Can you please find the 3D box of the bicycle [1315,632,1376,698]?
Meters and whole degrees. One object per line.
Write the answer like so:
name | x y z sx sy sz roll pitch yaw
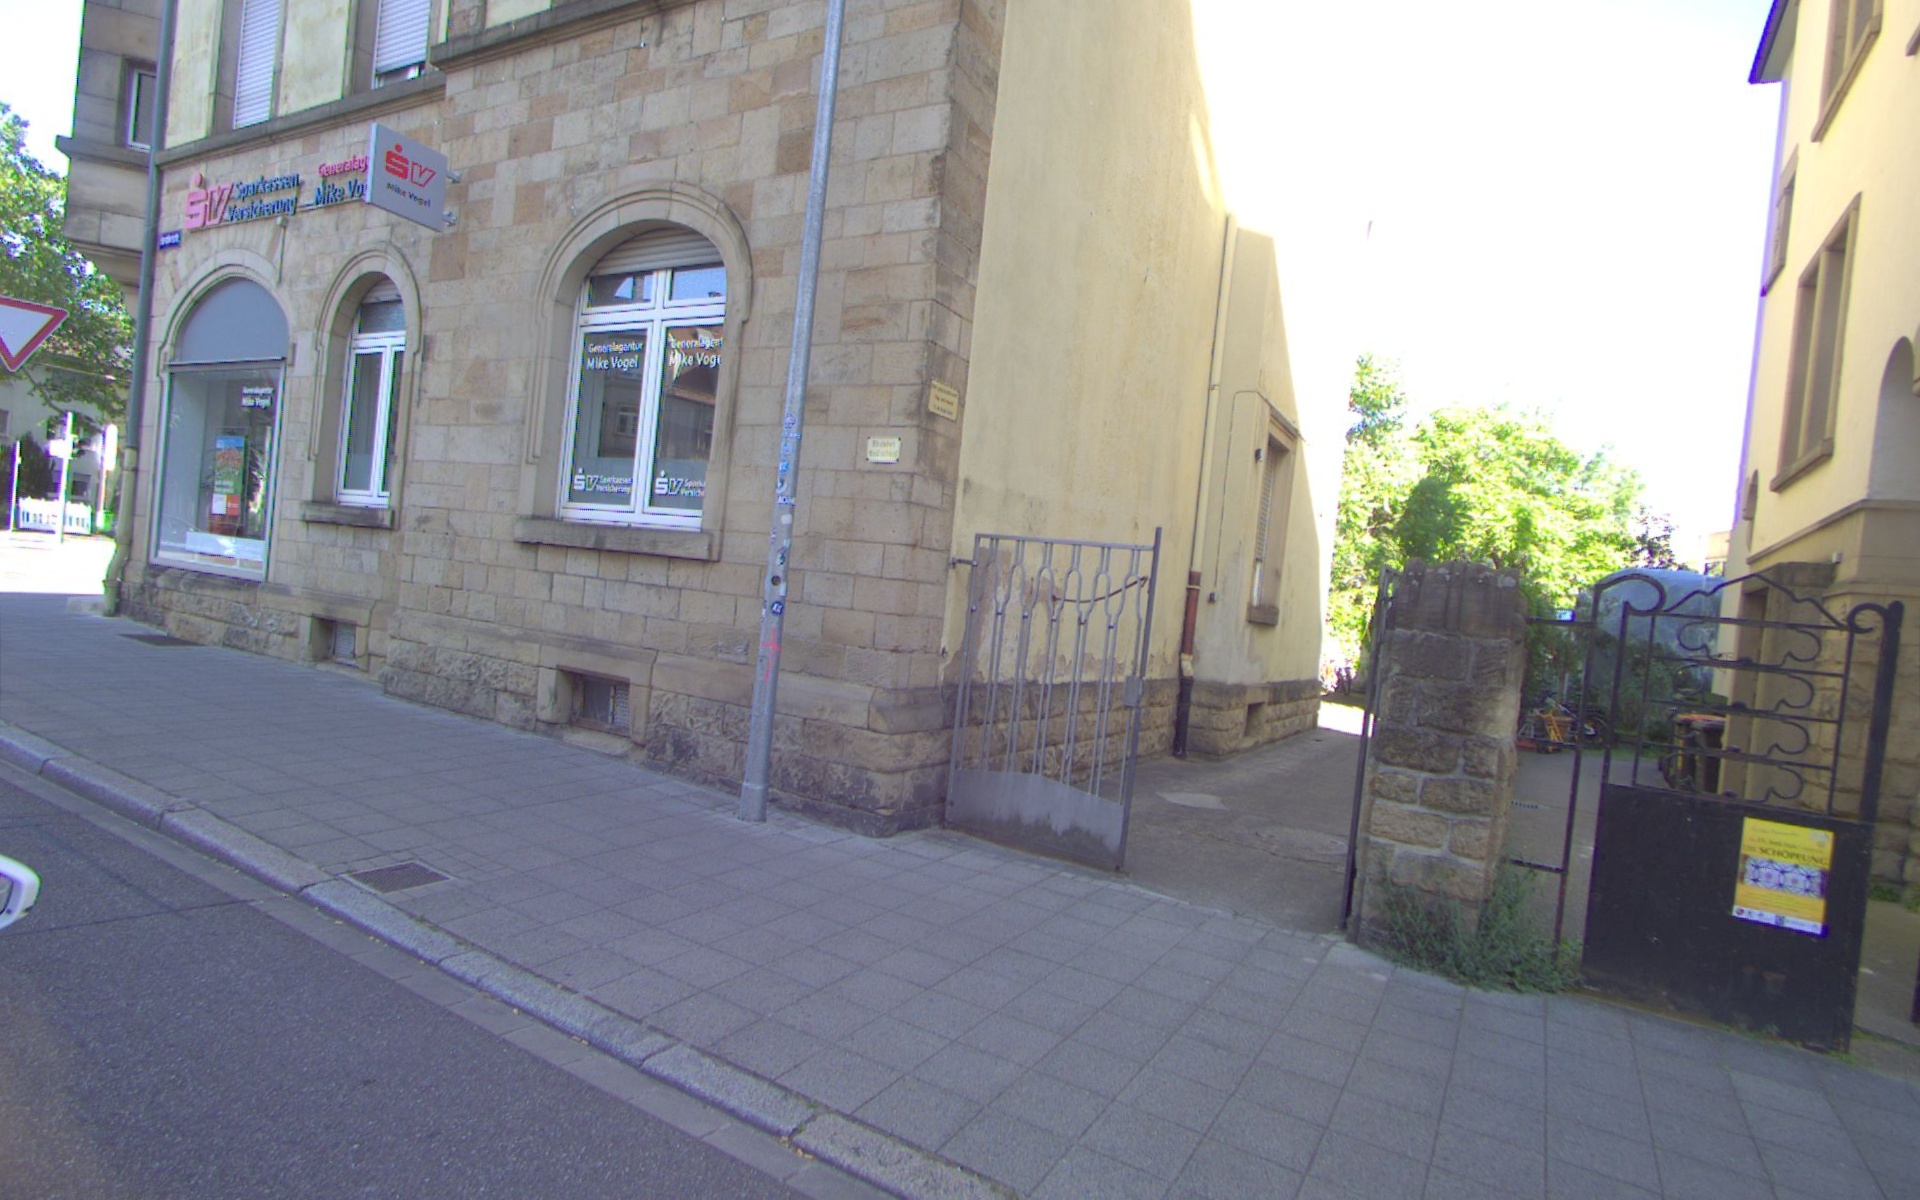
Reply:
bicycle | 9.979 1.642 25.971 0.904 1.532 2.667 6 2 31

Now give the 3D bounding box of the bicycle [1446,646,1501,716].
bicycle | 12.598 1.936 24.641 0.904 1.532 2.667 6 2 31

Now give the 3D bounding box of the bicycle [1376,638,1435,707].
bicycle | 11.213 1.777 25.254 0.904 1.532 2.667 6 2 31
